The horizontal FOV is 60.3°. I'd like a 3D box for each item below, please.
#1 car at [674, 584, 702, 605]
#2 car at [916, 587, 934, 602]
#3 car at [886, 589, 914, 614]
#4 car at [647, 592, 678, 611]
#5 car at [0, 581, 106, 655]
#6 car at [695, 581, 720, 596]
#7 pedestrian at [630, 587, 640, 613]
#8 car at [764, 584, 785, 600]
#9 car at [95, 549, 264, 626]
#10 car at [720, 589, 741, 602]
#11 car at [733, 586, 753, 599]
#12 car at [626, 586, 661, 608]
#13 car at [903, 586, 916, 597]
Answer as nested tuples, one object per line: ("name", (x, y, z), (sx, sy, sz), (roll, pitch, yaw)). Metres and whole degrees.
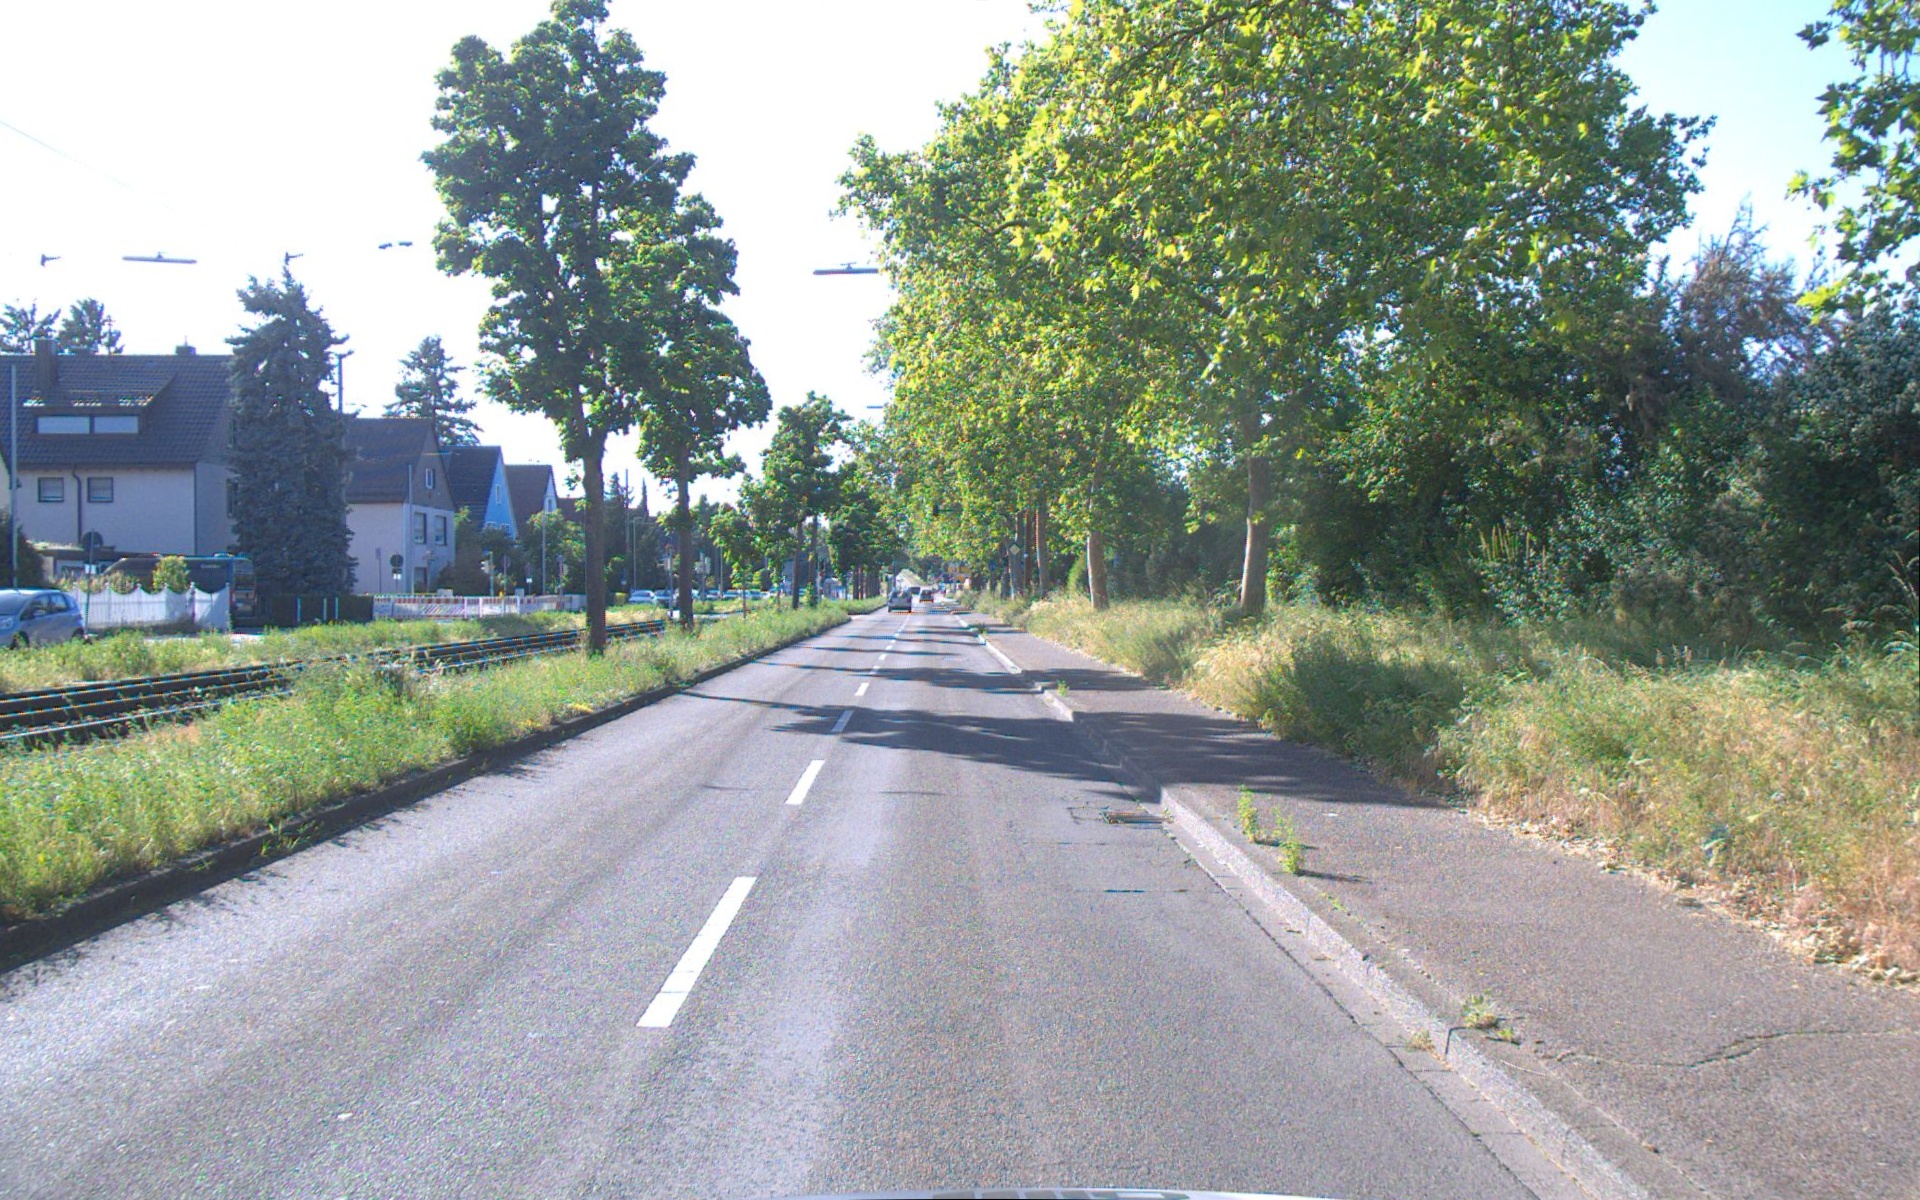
("car", (-23.272, -0.473, 141.761), (1.712, 1.679, 4.554), (1, 0, -2))
("car", (-3.905, -0.598, 186.114), (1.953, 1.631, 4.472), (1, 0, -2))
("car", (-4.028, 0.078, 111.454), (1.822, 1.629, 4.226), (1, 0, -2))
("car", (-23.368, 0.105, 129.958), (1.694, 1.491, 4.601), (1, 0, -2))
("car", (-21.326, 0.363, 37.440), (1.907, 1.580, 4.055), (1, 0, -1))
("car", (-24.488, -1.091, 160.615), (1.822, 1.393, 4.226), (1, 0, -2))
("pedestrian", (-25.840, 0.017, 131.434), (0.667, 2.049, 0.772), (1, 0, -2))
("car", (-20.193, -0.866, 180.296), (1.953, 1.631, 4.472), (1, 0, -2))
("car", (-27.444, -0.459, 58.265), (4.927, 2.671, 2.102), (0, 1, -2))
("car", (-24.839, -0.476, 179.150), (1.822, 1.438, 4.157), (1, 0, -2))
("car", (-24.775, -0.849, 188.973), (1.822, 1.456, 4.460), (1, 0, -2))
("car", (-23.188, -0.222, 121.186), (1.822, 1.569, 4.226), (1, 0, -2))
("car", (-7.545, -1.269, 247.759), (1.953, 1.631, 4.472), (1, 0, -2))
